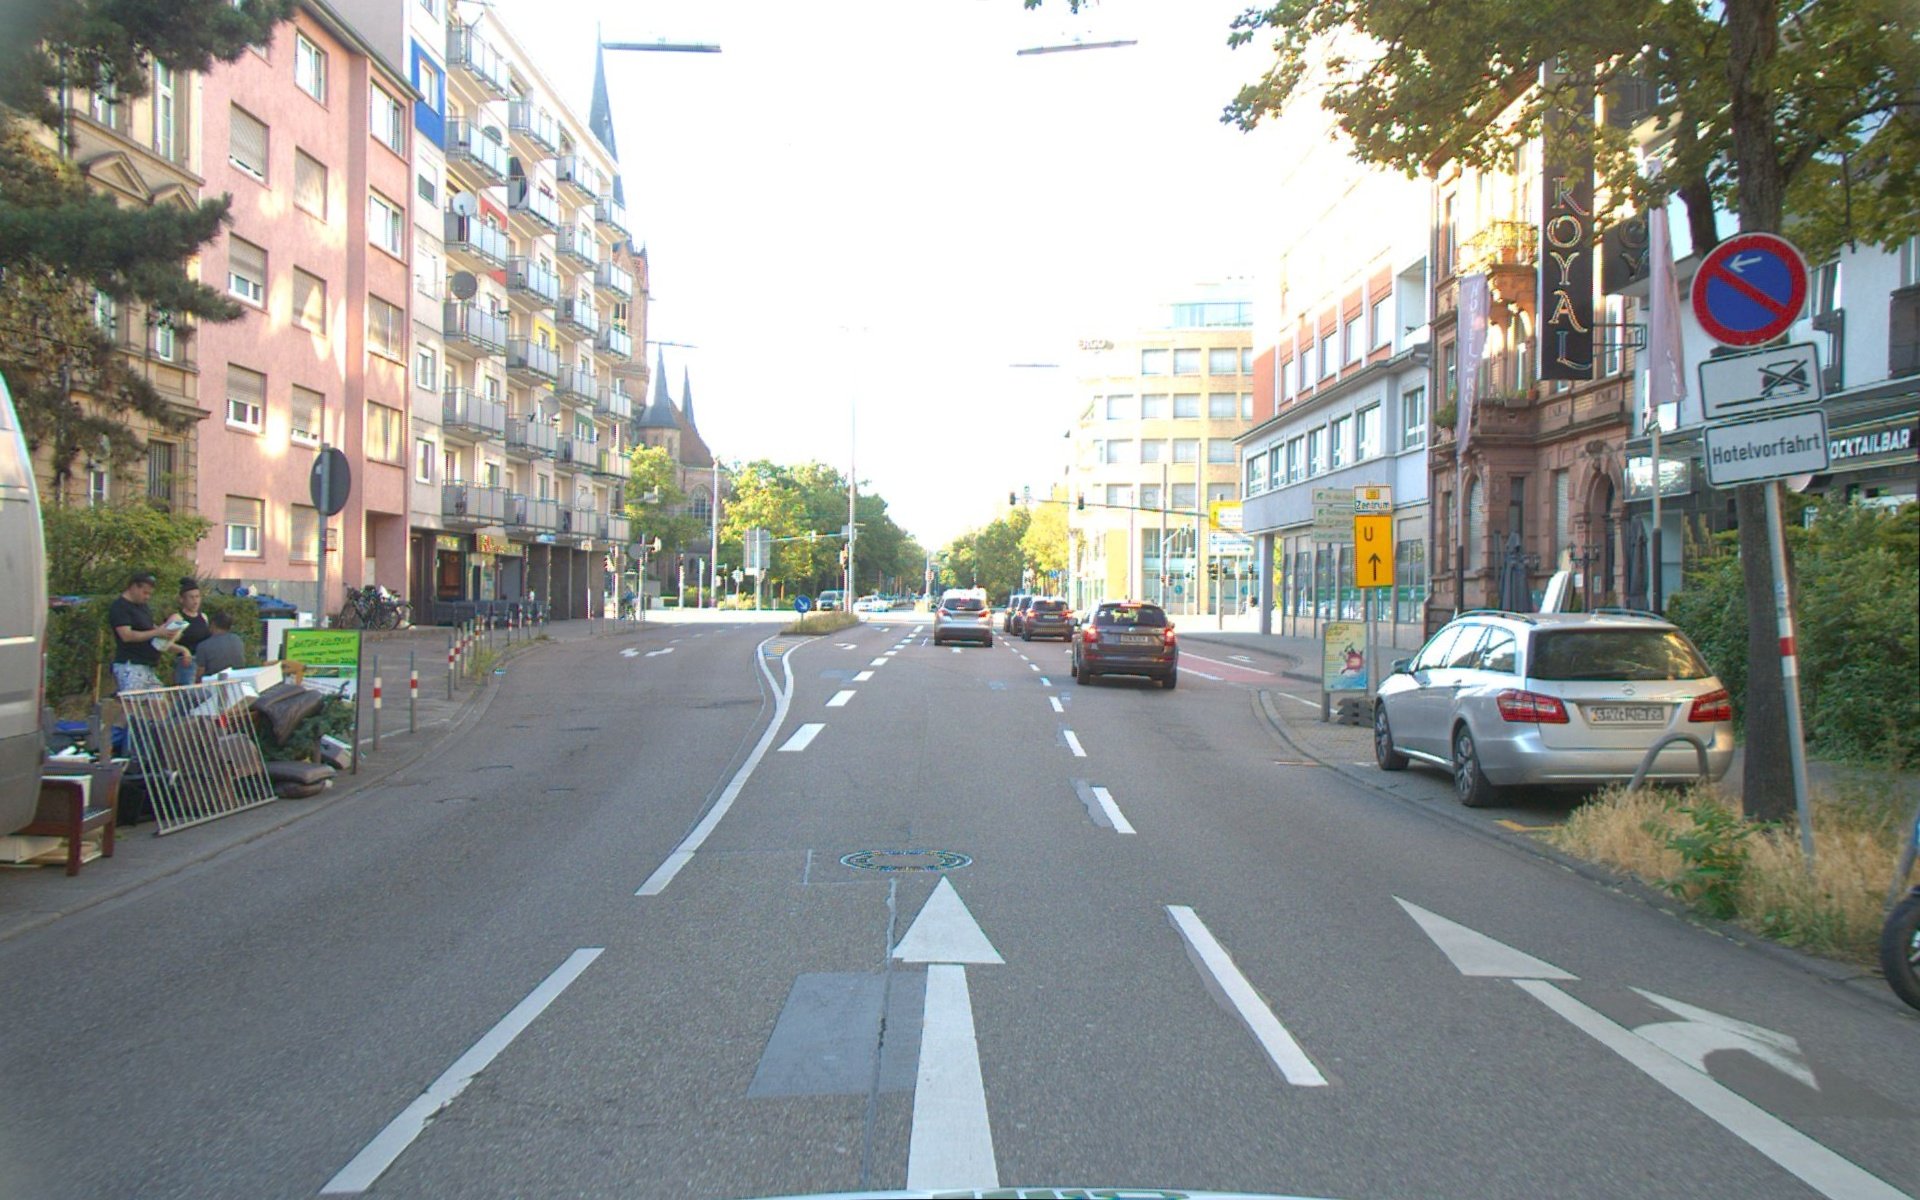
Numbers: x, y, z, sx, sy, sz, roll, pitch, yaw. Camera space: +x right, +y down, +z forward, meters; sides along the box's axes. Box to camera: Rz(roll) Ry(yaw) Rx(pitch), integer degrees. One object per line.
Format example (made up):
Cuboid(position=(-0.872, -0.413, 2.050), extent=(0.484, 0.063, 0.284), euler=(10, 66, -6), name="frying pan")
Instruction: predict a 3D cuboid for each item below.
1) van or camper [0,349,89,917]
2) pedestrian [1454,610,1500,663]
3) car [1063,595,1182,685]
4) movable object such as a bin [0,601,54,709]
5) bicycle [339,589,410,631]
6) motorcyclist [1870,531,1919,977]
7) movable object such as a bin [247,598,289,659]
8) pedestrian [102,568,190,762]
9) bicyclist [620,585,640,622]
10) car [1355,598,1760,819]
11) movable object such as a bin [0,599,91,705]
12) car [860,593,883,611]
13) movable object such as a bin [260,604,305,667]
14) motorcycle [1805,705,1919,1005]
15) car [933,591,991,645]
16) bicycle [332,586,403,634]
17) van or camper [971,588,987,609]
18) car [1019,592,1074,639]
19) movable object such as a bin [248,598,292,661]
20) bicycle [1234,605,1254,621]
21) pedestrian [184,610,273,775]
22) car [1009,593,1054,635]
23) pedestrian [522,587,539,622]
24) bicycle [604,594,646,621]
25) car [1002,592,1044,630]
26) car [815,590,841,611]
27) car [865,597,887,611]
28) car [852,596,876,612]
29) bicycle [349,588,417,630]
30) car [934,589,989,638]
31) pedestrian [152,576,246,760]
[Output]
Cuboid(position=(-5.435, 0.141, 5.570), extent=(1.995, 2.710, 6.012), euler=(2, 0, -3), name="van or camper")
Cuboid(position=(10.743, 0.746, 34.383), extent=(0.676, 1.061, 0.945), euler=(0, 0, 2), name="pedestrian")
Cuboid(position=(2.815, 0.655, 29.447), extent=(1.673, 1.482, 4.158), euler=(0, 0, 0), name="car")
Cuboid(position=(-10.000, 0.554, 17.140), extent=(0.850, 1.069, 0.582), euler=(3, 0, -2), name="movable object such as a bin")
Cuboid(position=(-15.369, 0.262, 43.407), extent=(1.638, 1.059, 0.548), euler=(2, -1, -8), name="bicycle")
Cuboid(position=(4.310, 0.628, 6.520), extent=(0.723, 1.809, 1.085), euler=(1, 0, -12), name="motorcyclist")
Cuboid(position=(-13.339, 0.549, 31.878), extent=(0.633, 1.130, 0.577), euler=(3, -1, -31), name="movable object such as a bin")
Cuboid(position=(-7.222, 0.561, 14.691), extent=(0.470, 1.681, 0.724), euler=(1, 0, -7), name="pedestrian")
Cuboid(position=(-15.307, 0.145, 76.785), extent=(0.766, 1.689, 0.900), euler=(1, 0, -3), name="bicyclist")
Cuboid(position=(4.882, 0.778, 14.336), extent=(1.817, 1.539, 4.835), euler=(-1, 0, 1), name="car")
Cuboid(position=(-10.042, 0.551, 17.862), extent=(0.850, 1.069, 0.769), euler=(3, 0, -2), name="movable object such as a bin")
Cuboid(position=(-7.596, 0.178, 141.668), extent=(1.743, 1.490, 4.000), euler=(1, 0, 0), name="car")
Cuboid(position=(-12.092, 0.633, 29.510), extent=(0.633, 1.102, 0.577), euler=(3, -1, -31), name="movable object such as a bin")
Cuboid(position=(4.518, 0.997, 6.676), extent=(1.892, 1.089, 0.818), euler=(1, 0, -13), name="motorcycle")
Cuboid(position=(0.044, 0.508, 50.182), extent=(1.673, 1.536, 4.308), euler=(1, 0, -1), name="car")
Cuboid(position=(-15.266, 0.254, 42.603), extent=(1.649, 1.180, 0.492), euler=(2, -1, -27), name="bicycle")
Cuboid(position=(2.493, -0.240, 214.774), extent=(1.952, 2.686, 5.351), euler=(0, 0, 1), name="van or camper")
Cuboid(position=(2.945, 0.517, 57.234), extent=(1.617, 1.510, 4.239), euler=(2, 0, -1), name="car")
Cuboid(position=(-12.805, 0.548, 30.689), extent=(0.633, 1.130, 0.577), euler=(3, -1, -31), name="movable object such as a bin")
Cuboid(position=(21.188, 0.959, 123.427), extent=(1.487, 1.193, 0.475), euler=(0, 0, 6), name="bicycle")
Cuboid(position=(-6.410, 0.803, 14.501), extent=(0.548, 1.402, 0.480), euler=(2, 0, -6), name="pedestrian")
Cuboid(position=(2.703, 0.502, 63.208), extent=(1.459, 1.532, 3.478), euler=(0, 0, -2), name="car")
Cuboid(position=(-17.243, 0.178, 66.396), extent=(0.473, 1.408, 0.481), euler=(1, 0, 20), name="pedestrian")
Cuboid(position=(-15.406, 0.341, 76.021), extent=(1.790, 1.209, 0.734), euler=(1, 0, -2), name="bicycle")
Cuboid(position=(2.604, 0.454, 68.762), extent=(1.552, 1.472, 3.647), euler=(2, 0, -1), name="car")
Cuboid(position=(-10.804, 0.047, 135.611), extent=(1.743, 1.676, 4.000), euler=(1, 0, 0), name="car")
Cuboid(position=(-7.685, 0.347, 151.229), extent=(1.743, 1.257, 4.000), euler=(1, 0, 0), name="car")
Cuboid(position=(-7.834, 0.332, 135.092), extent=(1.743, 1.257, 4.000), euler=(1, 0, 0), name="car")
Cuboid(position=(-15.415, 0.243, 44.236), extent=(1.642, 1.059, 0.547), euler=(2, -1, -16), name="bicycle")
Cuboid(position=(0.020, 0.433, 56.655), extent=(1.767, 1.596, 3.617), euler=(0, 0, -2), name="car")
Cuboid(position=(-7.115, 0.625, 15.479), extent=(0.593, 1.681, 0.696), euler=(1, 0, -7), name="pedestrian")
